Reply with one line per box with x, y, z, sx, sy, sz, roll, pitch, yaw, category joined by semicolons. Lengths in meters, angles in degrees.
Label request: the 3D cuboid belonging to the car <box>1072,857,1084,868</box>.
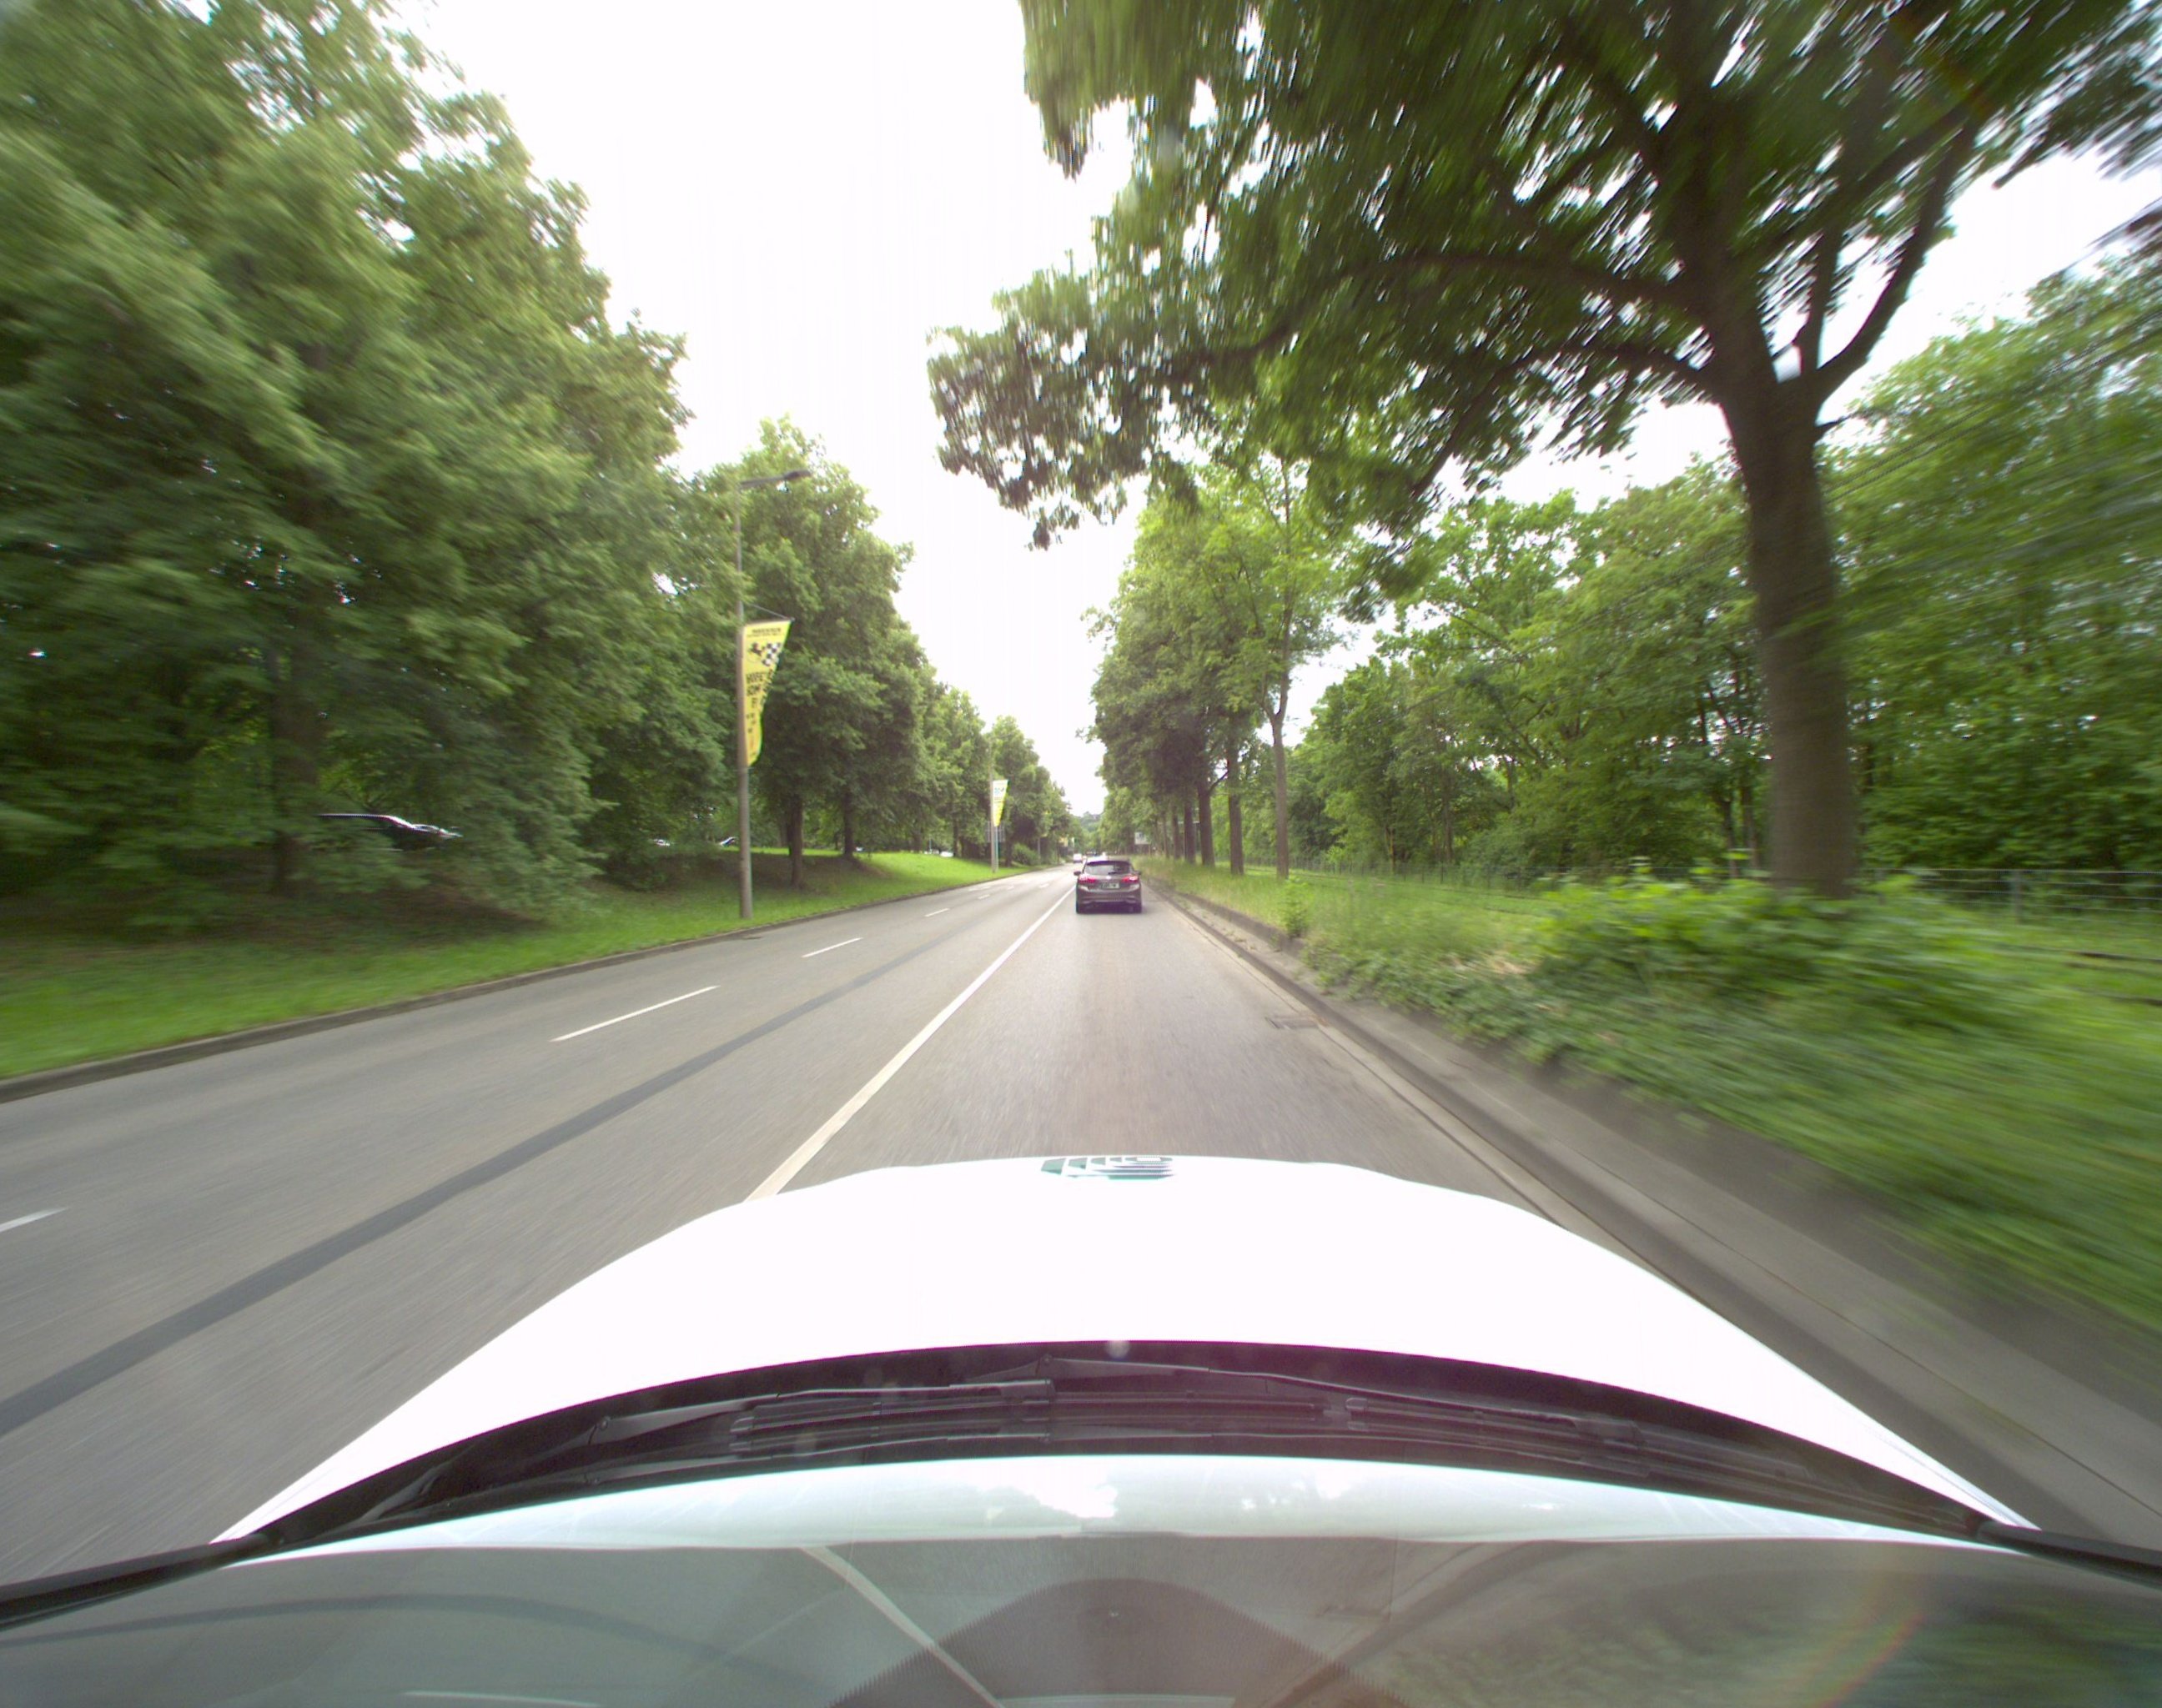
-0.583;1.683;160.178;1.986;1.955;5.186;-2;-1;2;car

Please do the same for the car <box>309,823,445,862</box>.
-36.183;-0.552;42.051;4.913;1.895;1.983;0;-1;-26;car

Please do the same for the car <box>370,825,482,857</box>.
-39.749;-0.756;49.607;4.913;1.895;2.301;0;-1;-26;car

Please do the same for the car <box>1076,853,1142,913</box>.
0.764;0.766;22.889;1.724;1.537;3.552;0;-1;1;car

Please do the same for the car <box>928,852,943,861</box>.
-24.301;0.383;136.080;1.652;1.486;3.970;0;-1;-22;car
